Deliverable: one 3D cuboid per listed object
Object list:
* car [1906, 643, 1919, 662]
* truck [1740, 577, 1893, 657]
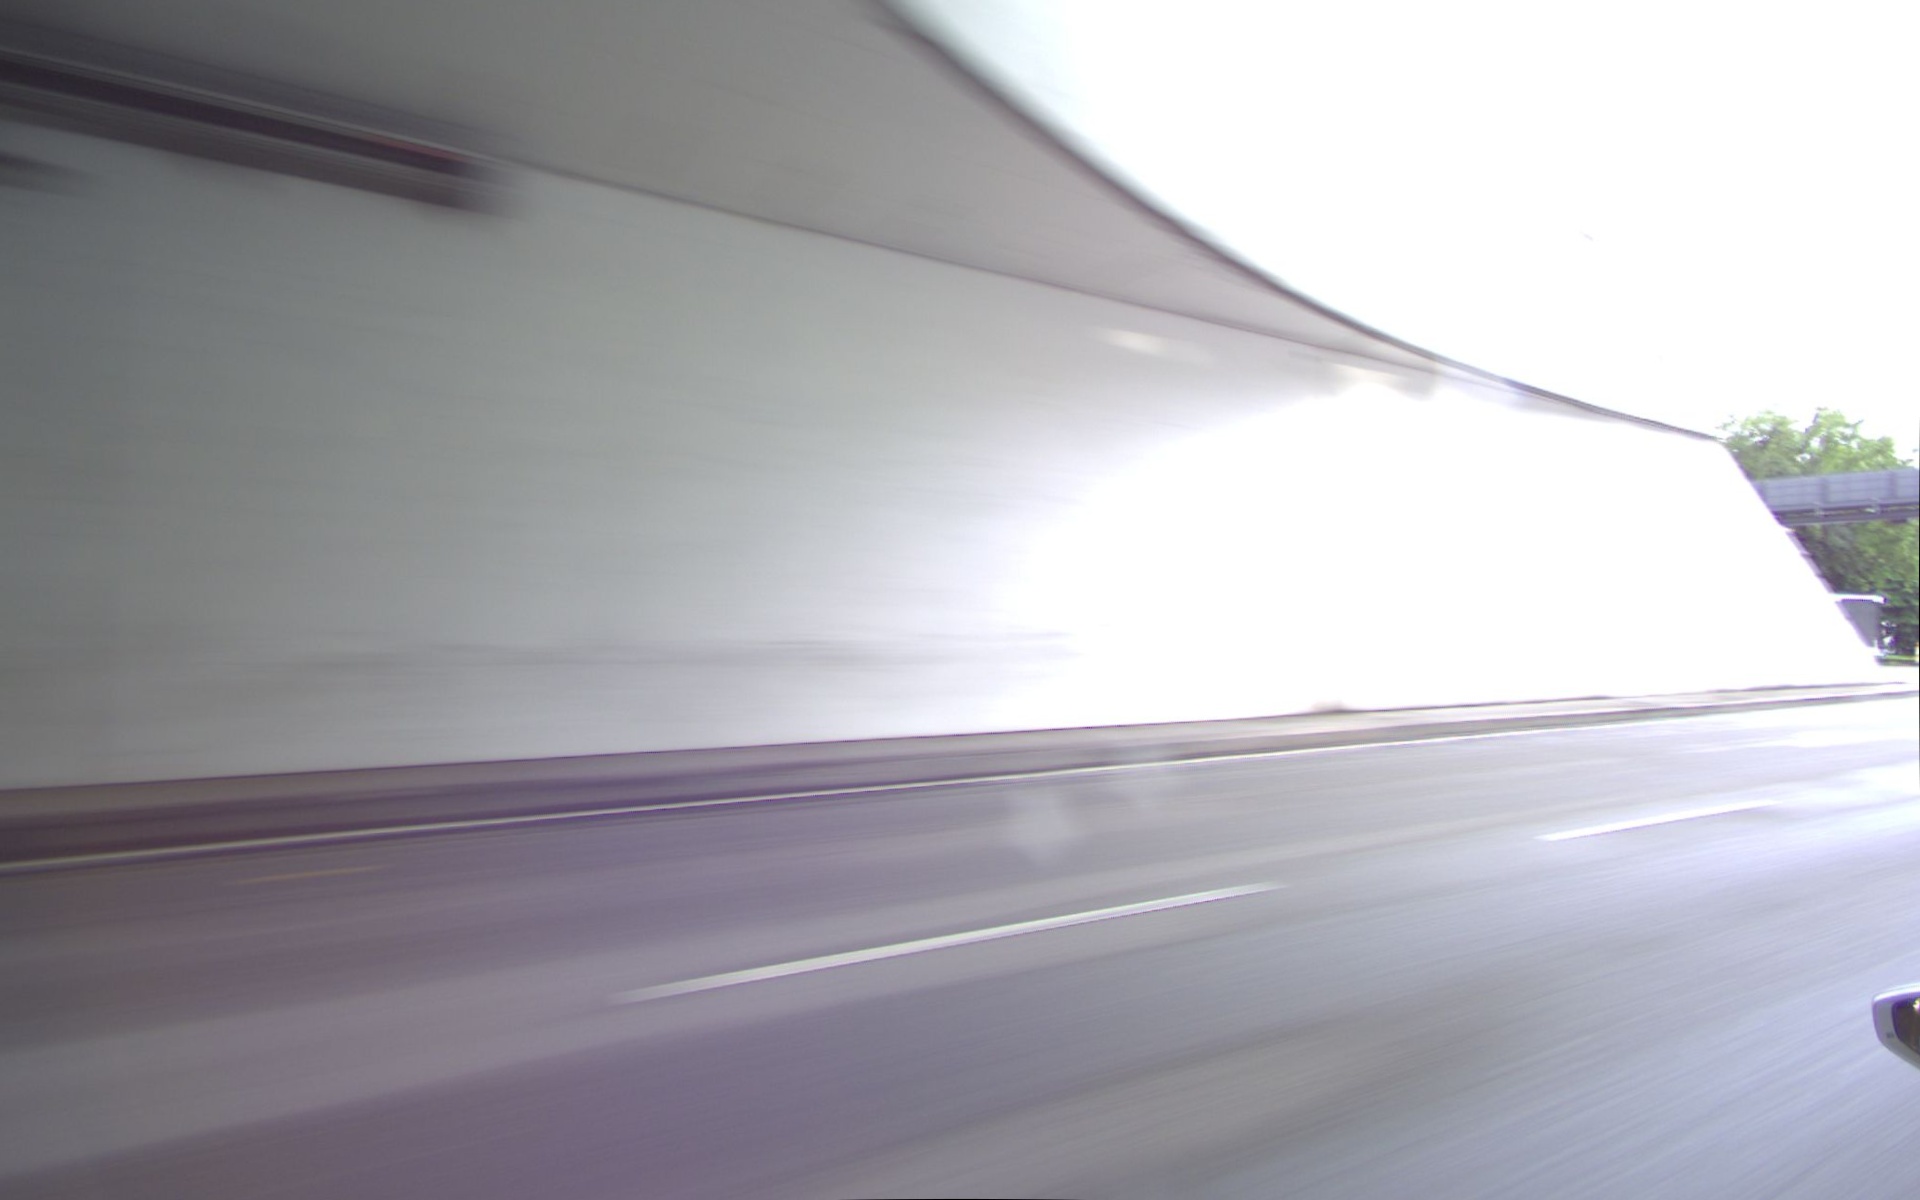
[{"bbox_3d":[82.492,4.490,84.384,1.874,1.534,3.971,1,1,-27],"label":"car"},{"bbox_3d":[38.681,0.776,45.324,7.058,3.320,2.785,2,1,-28],"label":"truck"}]
